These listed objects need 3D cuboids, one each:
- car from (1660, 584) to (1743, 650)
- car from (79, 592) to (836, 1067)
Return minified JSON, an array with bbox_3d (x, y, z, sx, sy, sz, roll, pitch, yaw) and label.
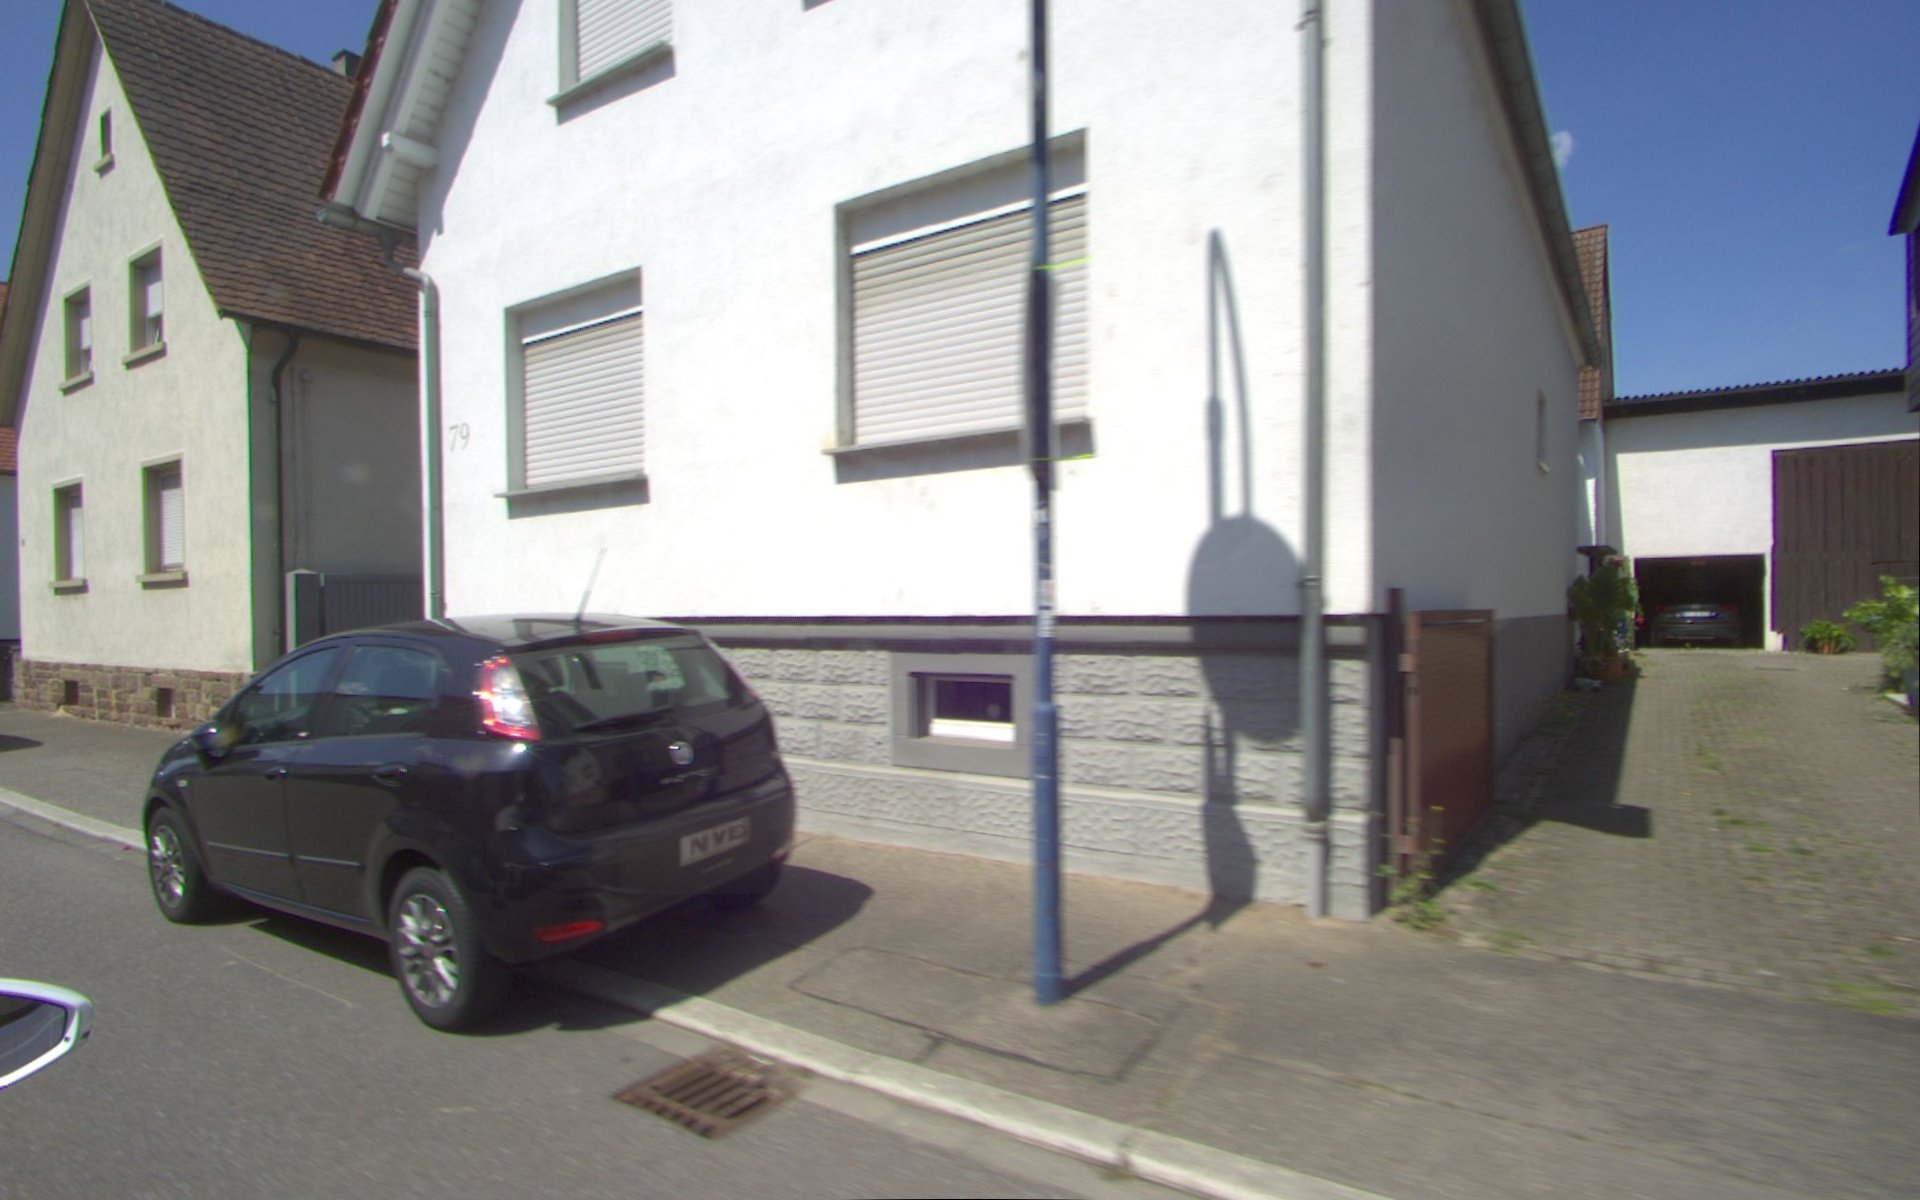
[{"bbox_3d":[18.305,0.408,24.767,1.547,1.506,3.974,0,-1,36],"label":"car"},{"bbox_3d":[-2.666,0.772,5.036,3.916,1.516,1.612,-1,2,33],"label":"car"}]
